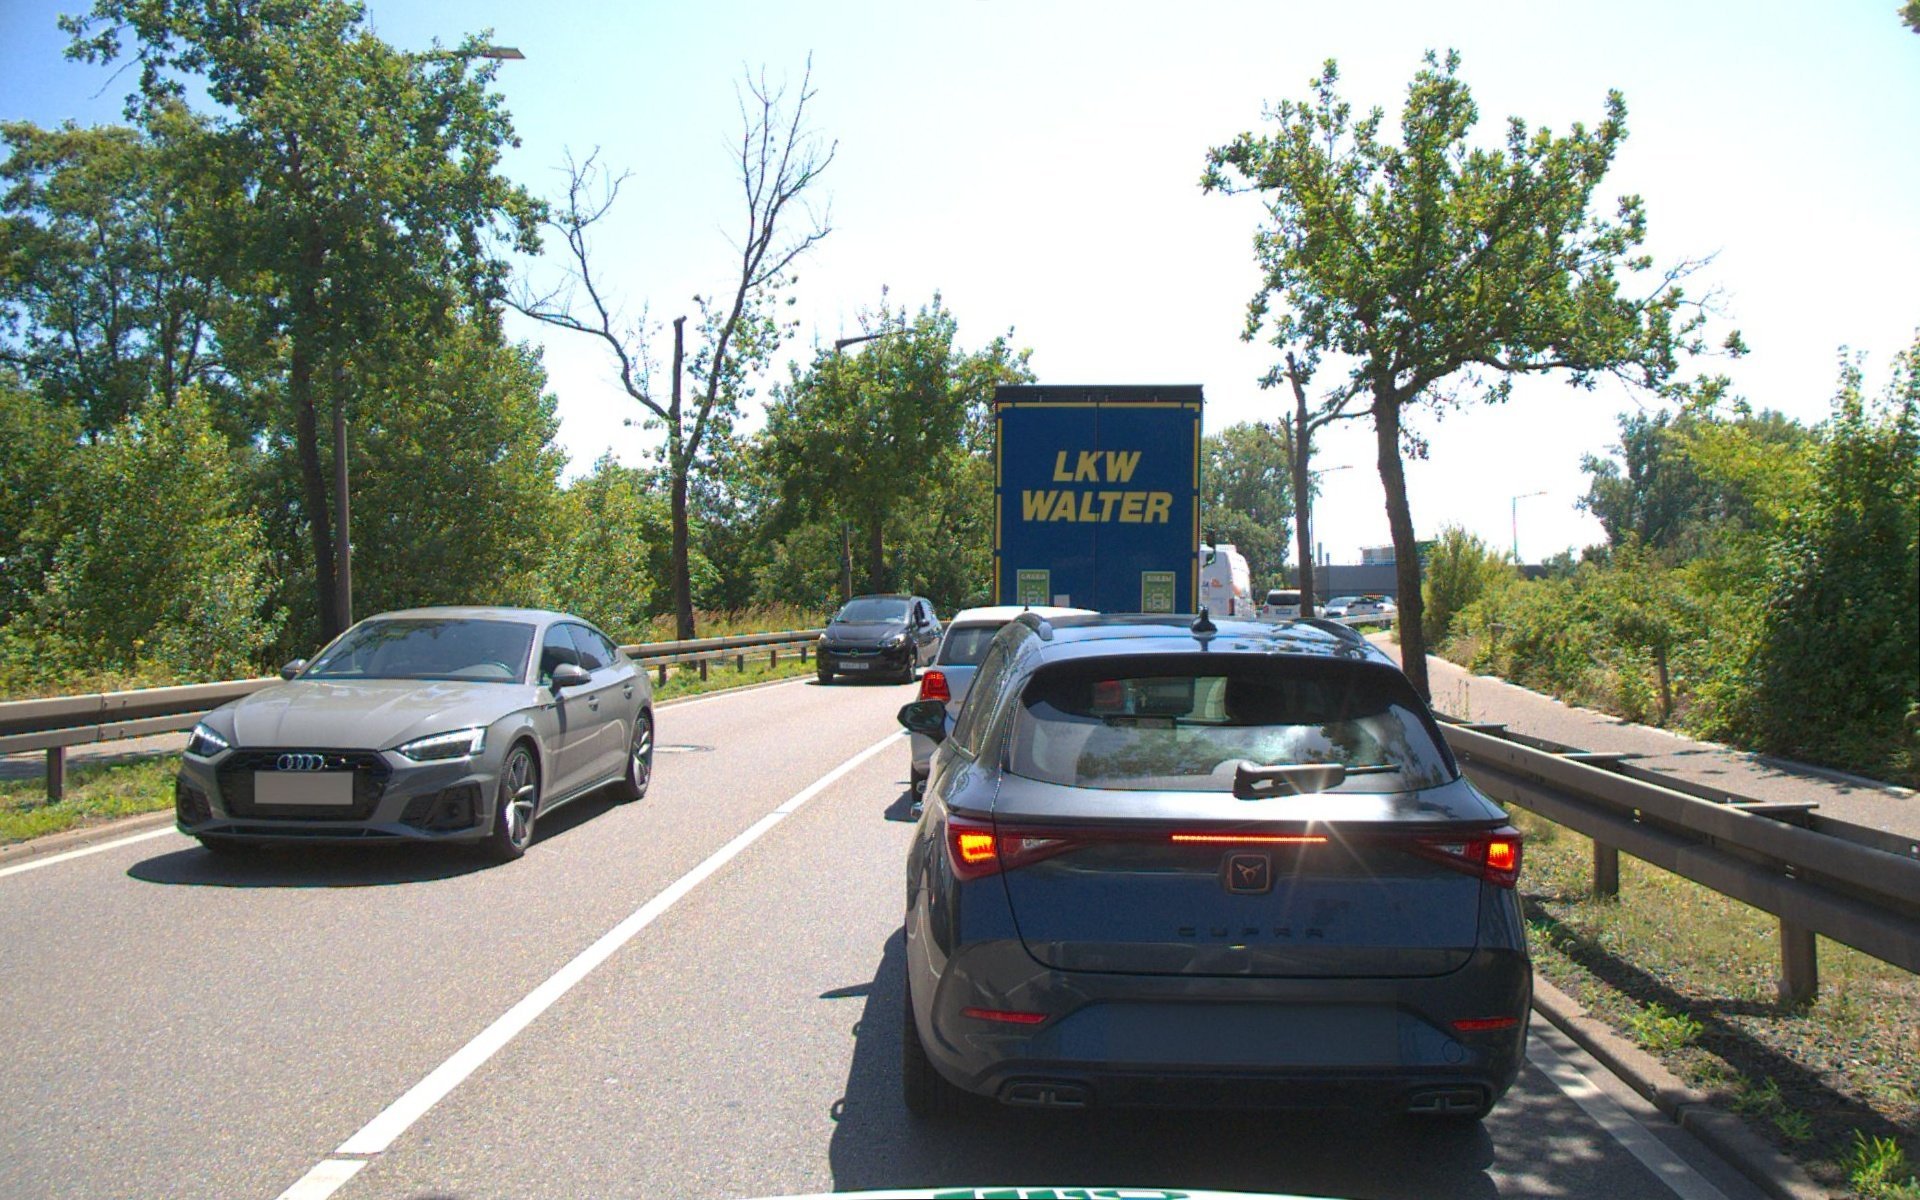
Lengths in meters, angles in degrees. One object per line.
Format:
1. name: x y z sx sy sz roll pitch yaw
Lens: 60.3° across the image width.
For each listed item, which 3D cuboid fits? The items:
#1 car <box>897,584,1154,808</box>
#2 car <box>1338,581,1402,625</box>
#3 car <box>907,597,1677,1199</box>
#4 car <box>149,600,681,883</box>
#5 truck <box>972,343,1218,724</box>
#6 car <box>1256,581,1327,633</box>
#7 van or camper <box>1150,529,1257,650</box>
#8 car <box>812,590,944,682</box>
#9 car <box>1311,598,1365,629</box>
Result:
1. car: 0.491 0.667 13.542 1.772 1.534 4.000 1 0 1
2. car: 18.031 0.139 72.622 1.953 1.840 4.843 1 0 23
3. car: 0.731 0.733 5.632 1.708 1.457 3.879 1 0 0
4. car: -3.191 0.726 10.729 1.722 1.420 4.408 1 0 4
5. truck: 2.780 -0.804 28.156 2.887 4.526 16.811 1 0 8
6. car: 11.787 0.239 58.619 1.952 1.742 4.622 1 0 17
7. van or camper: 6.760 -0.273 45.352 2.414 3.051 6.091 1 0 13
8. car: -1.376 0.601 29.359 1.635 1.491 3.823 1 0 8
9. car: 18.971 0.651 82.927 1.639 1.491 3.814 1 0 29
